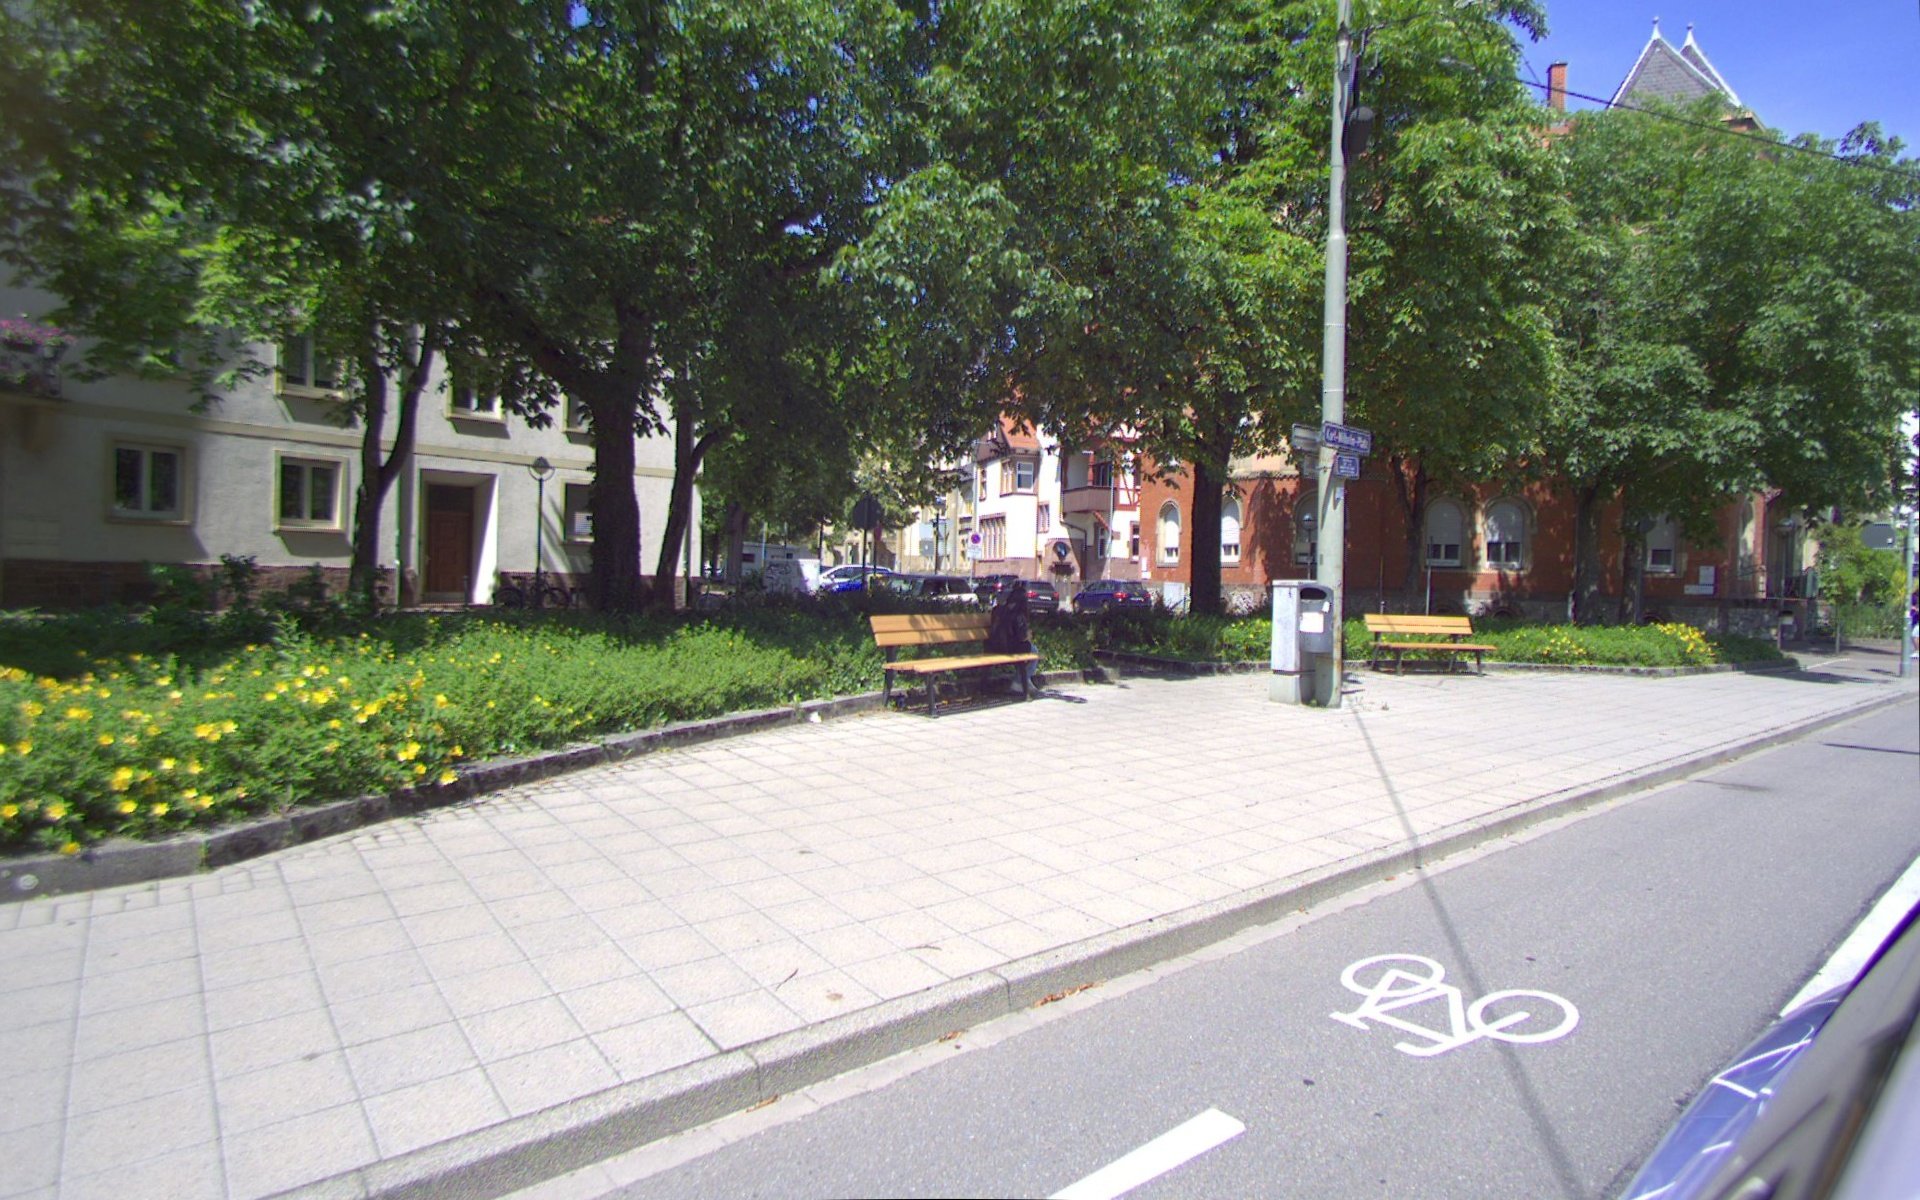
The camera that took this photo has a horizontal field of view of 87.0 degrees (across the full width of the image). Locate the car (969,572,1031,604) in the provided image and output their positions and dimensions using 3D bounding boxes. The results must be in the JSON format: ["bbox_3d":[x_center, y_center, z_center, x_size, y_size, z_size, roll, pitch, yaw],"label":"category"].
[{"bbox_3d":[2.069,-0.622,54.072,1.897,1.638,4.318,0,0,-19],"label":"car"}]

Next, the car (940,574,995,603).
[{"bbox_3d":[0.383,-0.657,58.679,1.897,1.638,4.318,0,0,-19],"label":"car"}]

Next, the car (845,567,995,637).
[{"bbox_3d":[-0.893,0.044,24.188,1.696,1.525,3.603,2,1,37],"label":"car"}]

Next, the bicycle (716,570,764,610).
[{"bbox_3d":[-5.866,-0.270,26.901,0.736,1.024,2.273,0,0,-26],"label":"bicycle"}]

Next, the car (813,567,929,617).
[{"bbox_3d":[-3.542,-0.324,40.013,4.219,1.903,1.942,0,0,-18],"label":"car"}]

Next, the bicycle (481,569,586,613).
[{"bbox_3d":[-10.251,-0.224,24.373,2.230,1.024,0.751,-1,0,-41],"label":"bicycle"}]

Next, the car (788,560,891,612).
[{"bbox_3d":[-5.369,-0.630,44.826,4.219,2.219,1.942,0,0,-18],"label":"car"}]

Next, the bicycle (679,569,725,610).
[{"bbox_3d":[-6.774,-0.262,26.472,0.736,1.024,2.273,0,0,-26],"label":"bicycle"}]

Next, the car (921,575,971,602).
[{"bbox_3d":[-0.915,-0.693,63.250,1.897,1.638,4.318,0,0,-19],"label":"car"}]

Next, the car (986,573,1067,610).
[{"bbox_3d":[2.775,-0.353,43.597,1.897,1.501,5.046,0,0,-16],"label":"car"}]

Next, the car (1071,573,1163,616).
[{"bbox_3d":[6.277,-0.235,41.022,1.897,1.638,4.318,0,0,-19],"label":"car"}]

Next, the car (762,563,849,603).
[{"bbox_3d":[-8.082,-0.885,52.936,4.219,2.029,1.942,0,0,-18],"label":"car"}]

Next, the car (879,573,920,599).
[{"bbox_3d":[-4.499,-1.008,74.459,1.897,1.897,4.318,0,0,-19],"label":"car"}]

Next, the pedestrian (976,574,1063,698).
[{"bbox_3d":[0.599,0.334,10.072,0.562,1.156,0.718,3,2,33],"label":"pedestrian"}]

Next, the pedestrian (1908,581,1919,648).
[{"bbox_3d":[26.968,0.420,27.968,0.826,1.846,0.671,2,1,12],"label":"pedestrian"}]
